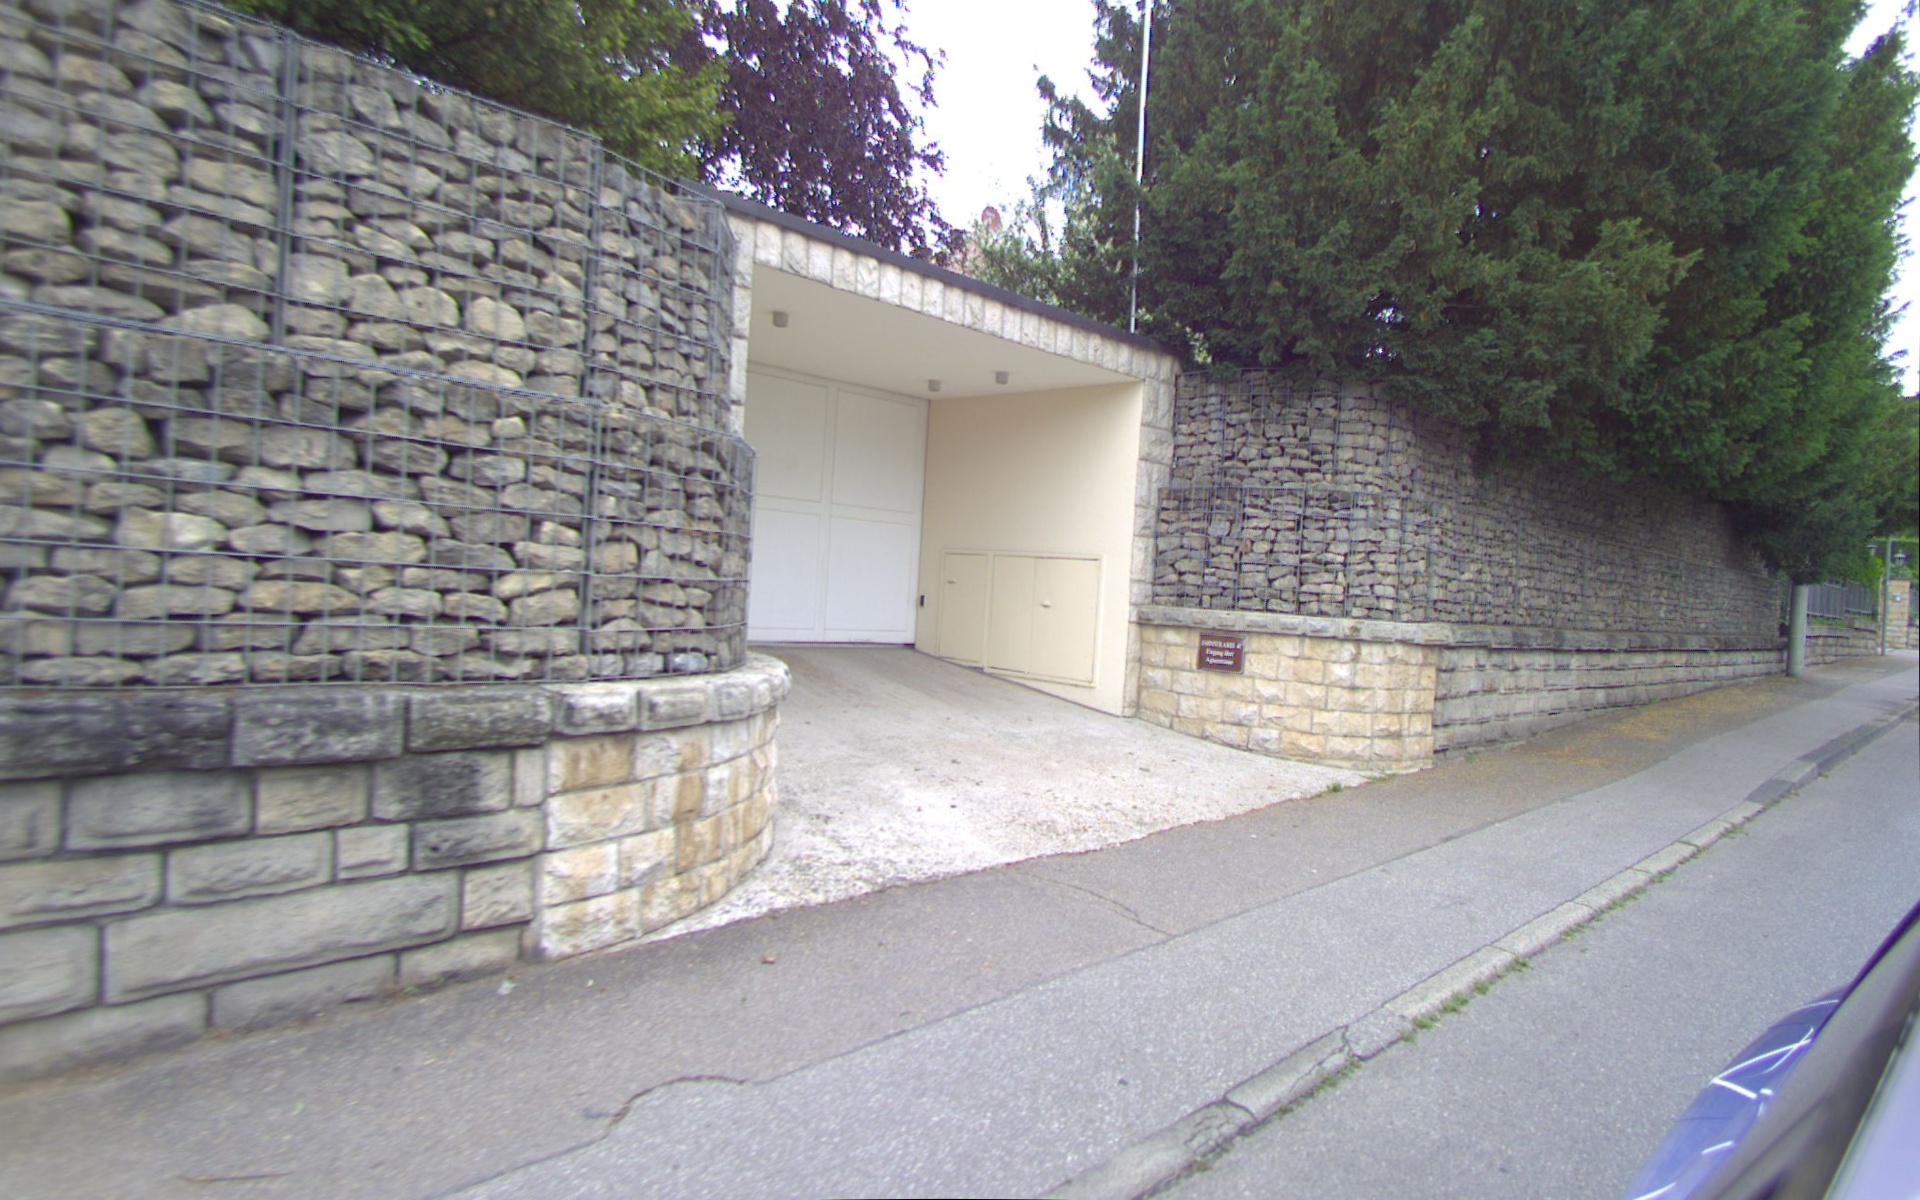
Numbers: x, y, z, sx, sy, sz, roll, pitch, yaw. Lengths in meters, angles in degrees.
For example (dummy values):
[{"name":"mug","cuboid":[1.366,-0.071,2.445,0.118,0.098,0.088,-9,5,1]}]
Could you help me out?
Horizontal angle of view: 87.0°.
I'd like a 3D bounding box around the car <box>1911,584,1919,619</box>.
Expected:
[{"name":"car","cuboid":[34.323,0.189,33.535,1.783,1.628,3.754,0,11,-42]}]
